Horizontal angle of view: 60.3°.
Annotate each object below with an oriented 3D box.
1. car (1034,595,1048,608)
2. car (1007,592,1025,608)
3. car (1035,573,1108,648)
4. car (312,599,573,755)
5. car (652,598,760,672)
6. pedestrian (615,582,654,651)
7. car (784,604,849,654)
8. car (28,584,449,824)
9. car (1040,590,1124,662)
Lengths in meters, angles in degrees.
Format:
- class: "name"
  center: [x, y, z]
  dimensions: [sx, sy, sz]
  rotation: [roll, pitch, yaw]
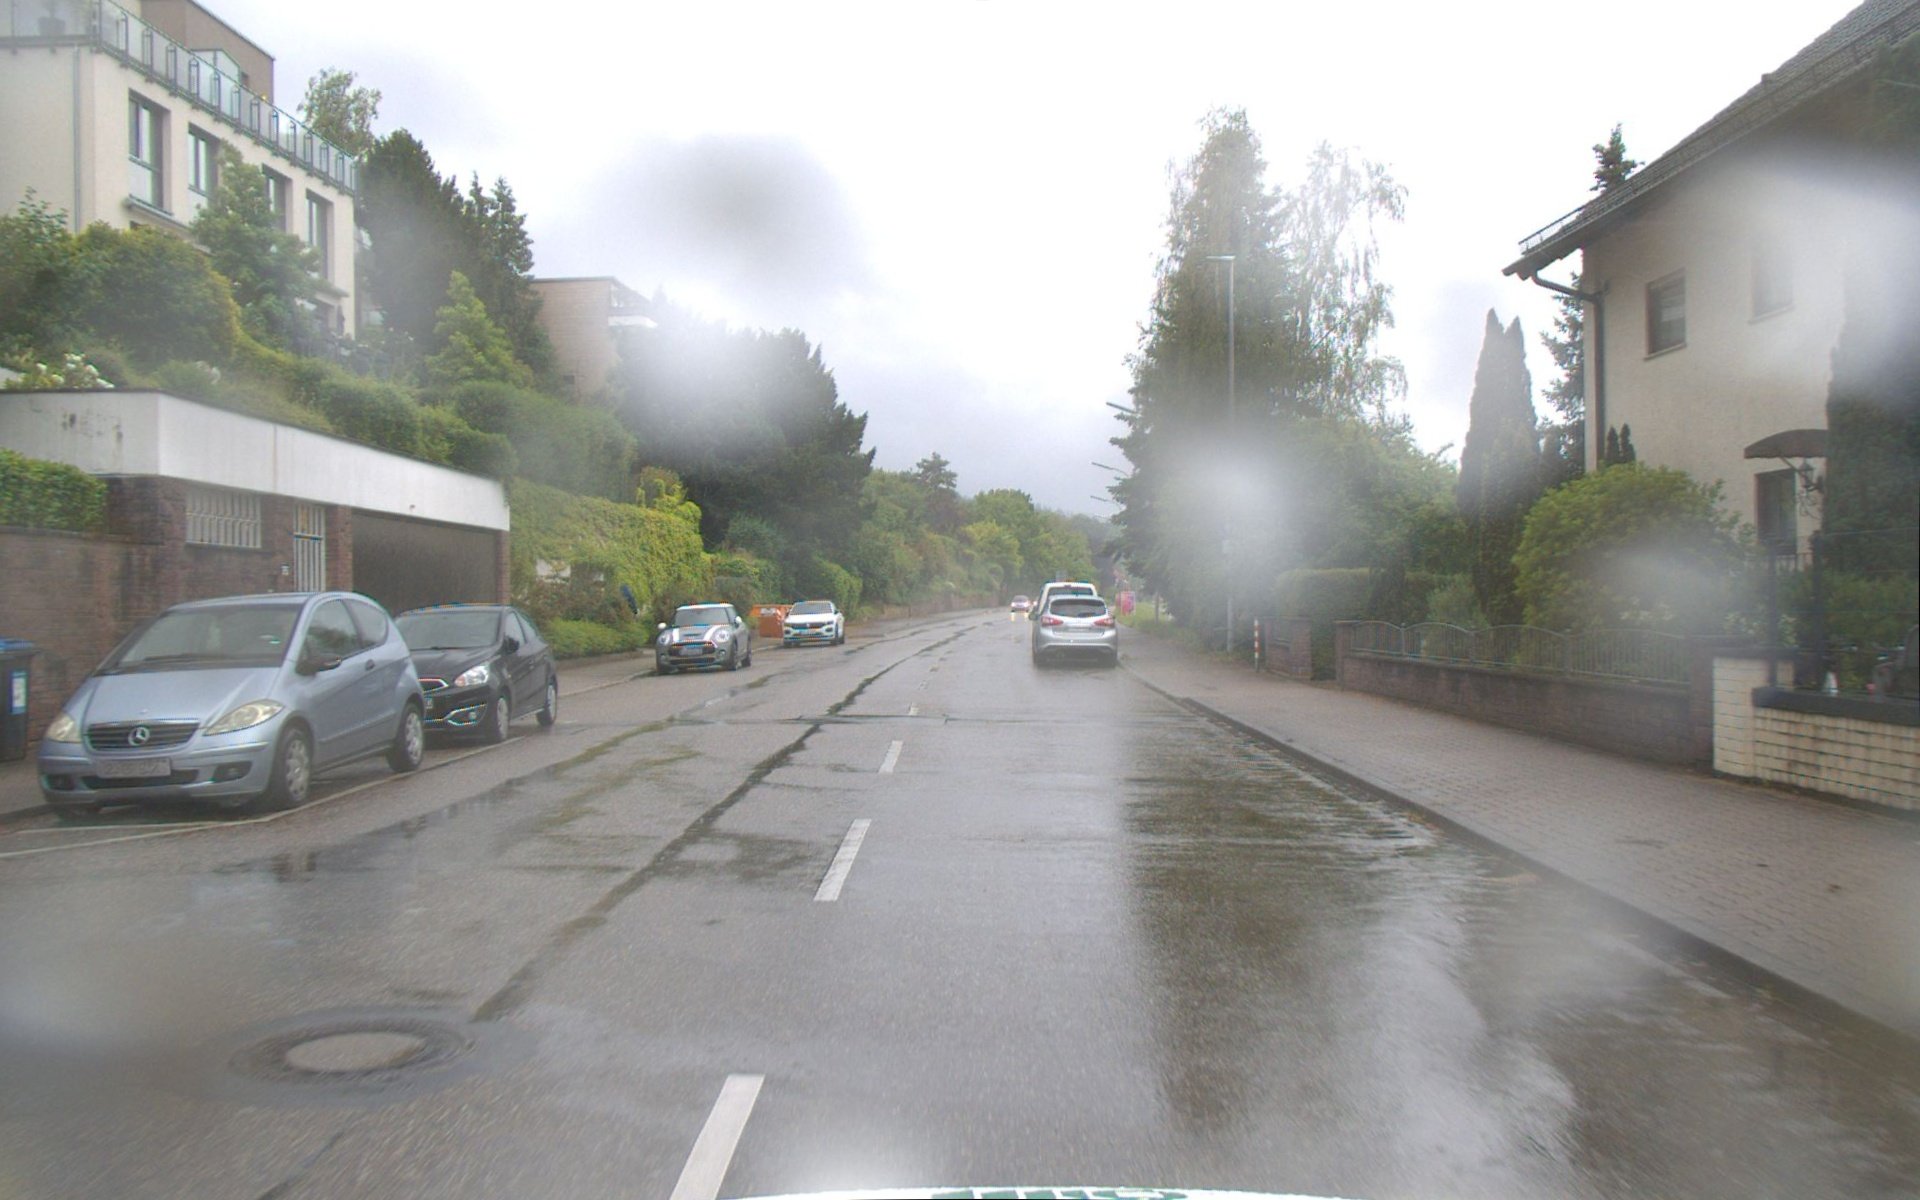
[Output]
- class: "car"
  center: [9.026, 0.148, 184.084]
  dimensions: [1.620, 1.375, 3.989]
  rotation: [0, 0, 3]
- class: "car"
  center: [5.311, -0.016, 156.505]
  dimensions: [1.628, 1.486, 3.662]
  rotation: [0, 0, 1]
- class: "car"
  center: [2.807, 0.267, 42.293]
  dimensions: [1.747, 1.822, 4.362]
  rotation: [0, 0, 3]
- class: "car"
  center: [-5.651, 0.772, 18.537]
  dimensions: [1.720, 1.433, 3.704]
  rotation: [-4, 0, -1]
- class: "car"
  center: [-5.484, 0.723, 36.096]
  dimensions: [1.720, 1.427, 3.769]
  rotation: [-3, 0, -1]
- class: "pedestrian"
  center: [-9.059, 0.454, 46.046]
  dimensions: [0.824, 1.913, 0.902]
  rotation: [0, -1, 4]
- class: "car"
  center: [-4.743, 0.942, 55.156]
  dimensions: [1.720, 1.524, 4.220]
  rotation: [-2, 0, 0]
- class: "car"
  center: [-5.606, 0.708, 13.409]
  dimensions: [1.720, 1.566, 3.756]
  rotation: [-4, 0, -1]
- class: "car"
  center: [2.647, 0.554, 36.682]
  dimensions: [1.752, 1.485, 4.310]
  rotation: [0, 0, 3]
